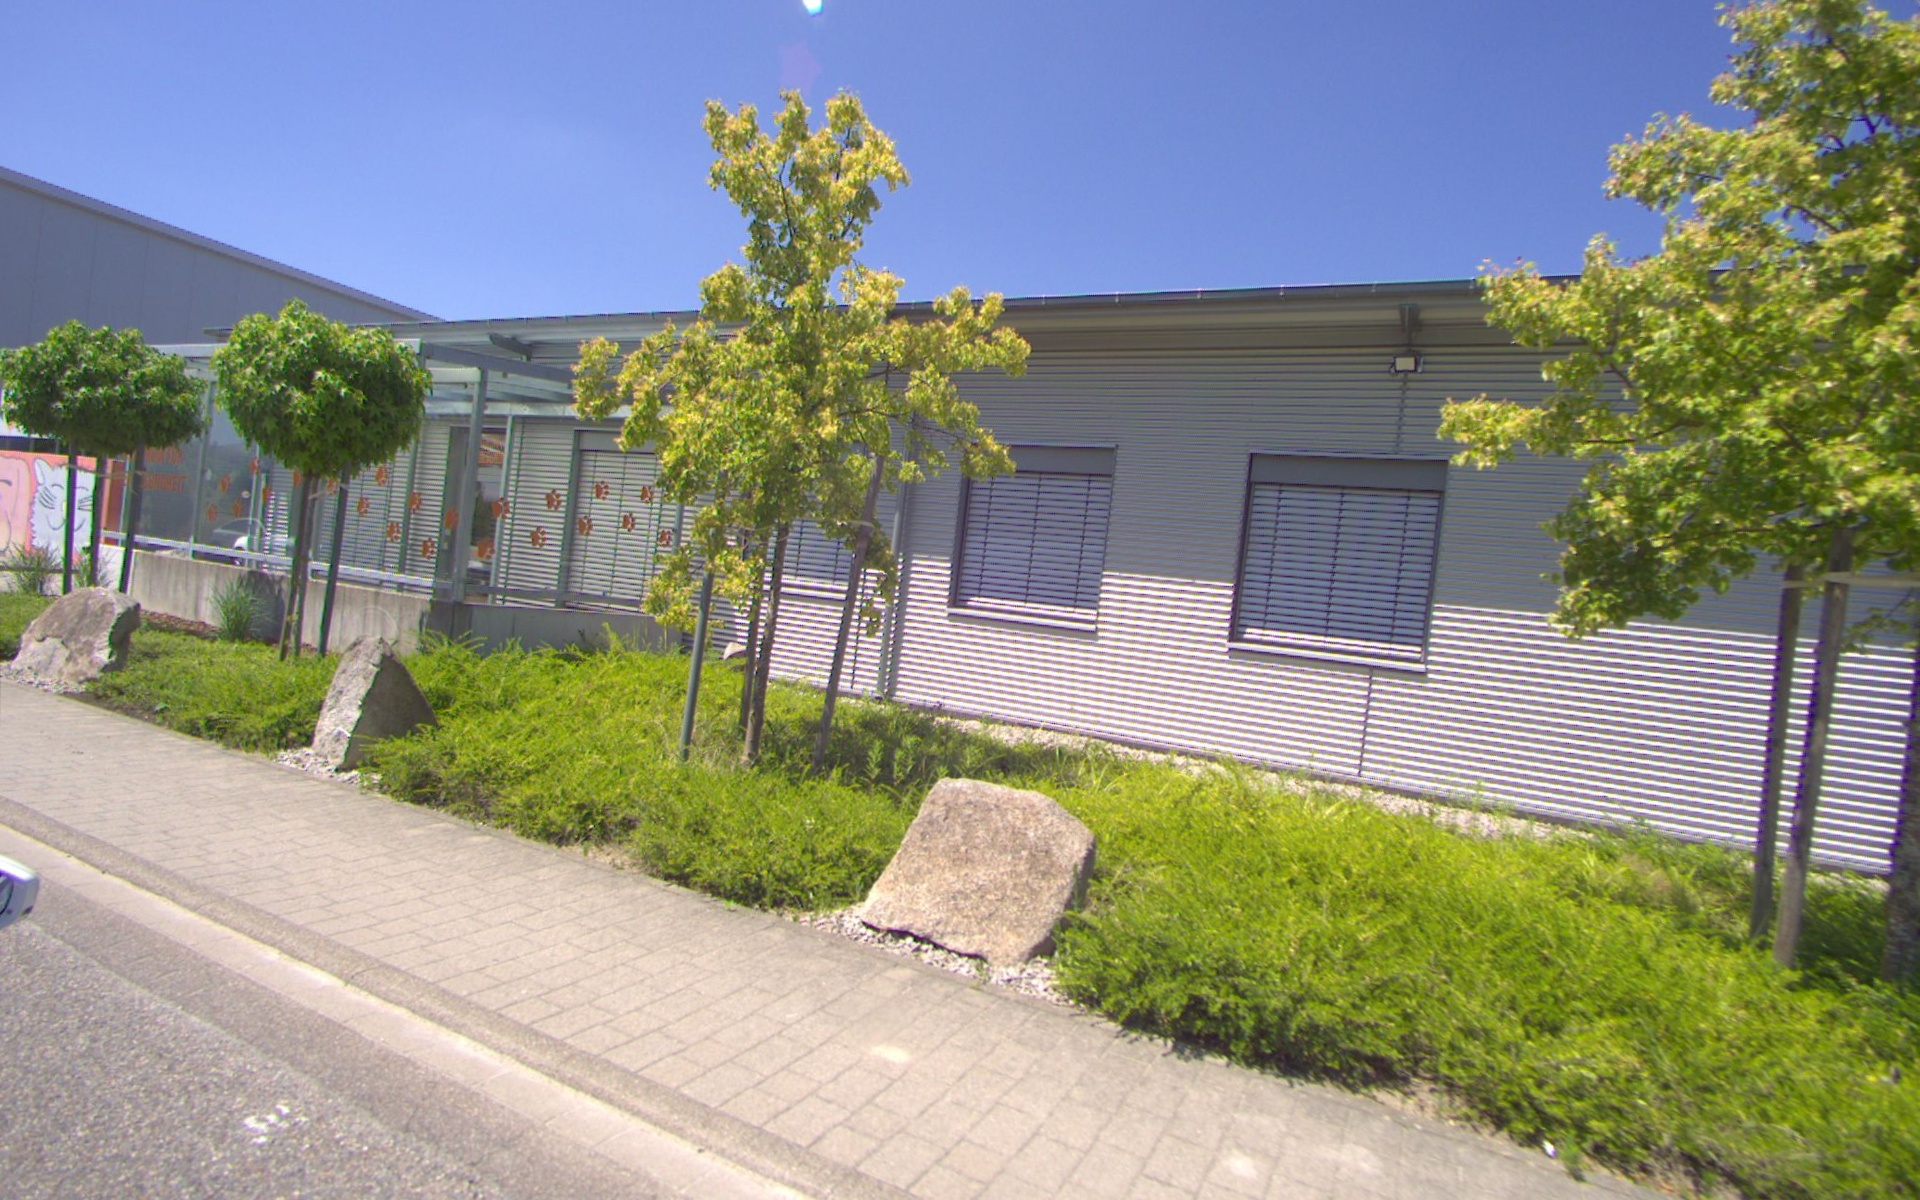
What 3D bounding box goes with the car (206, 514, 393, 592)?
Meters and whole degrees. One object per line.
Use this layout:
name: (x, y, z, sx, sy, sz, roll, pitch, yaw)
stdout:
car: (-17.452, -1.238, 26.605, 4.272, 1.560, 2.000, 6, -1, 23)
